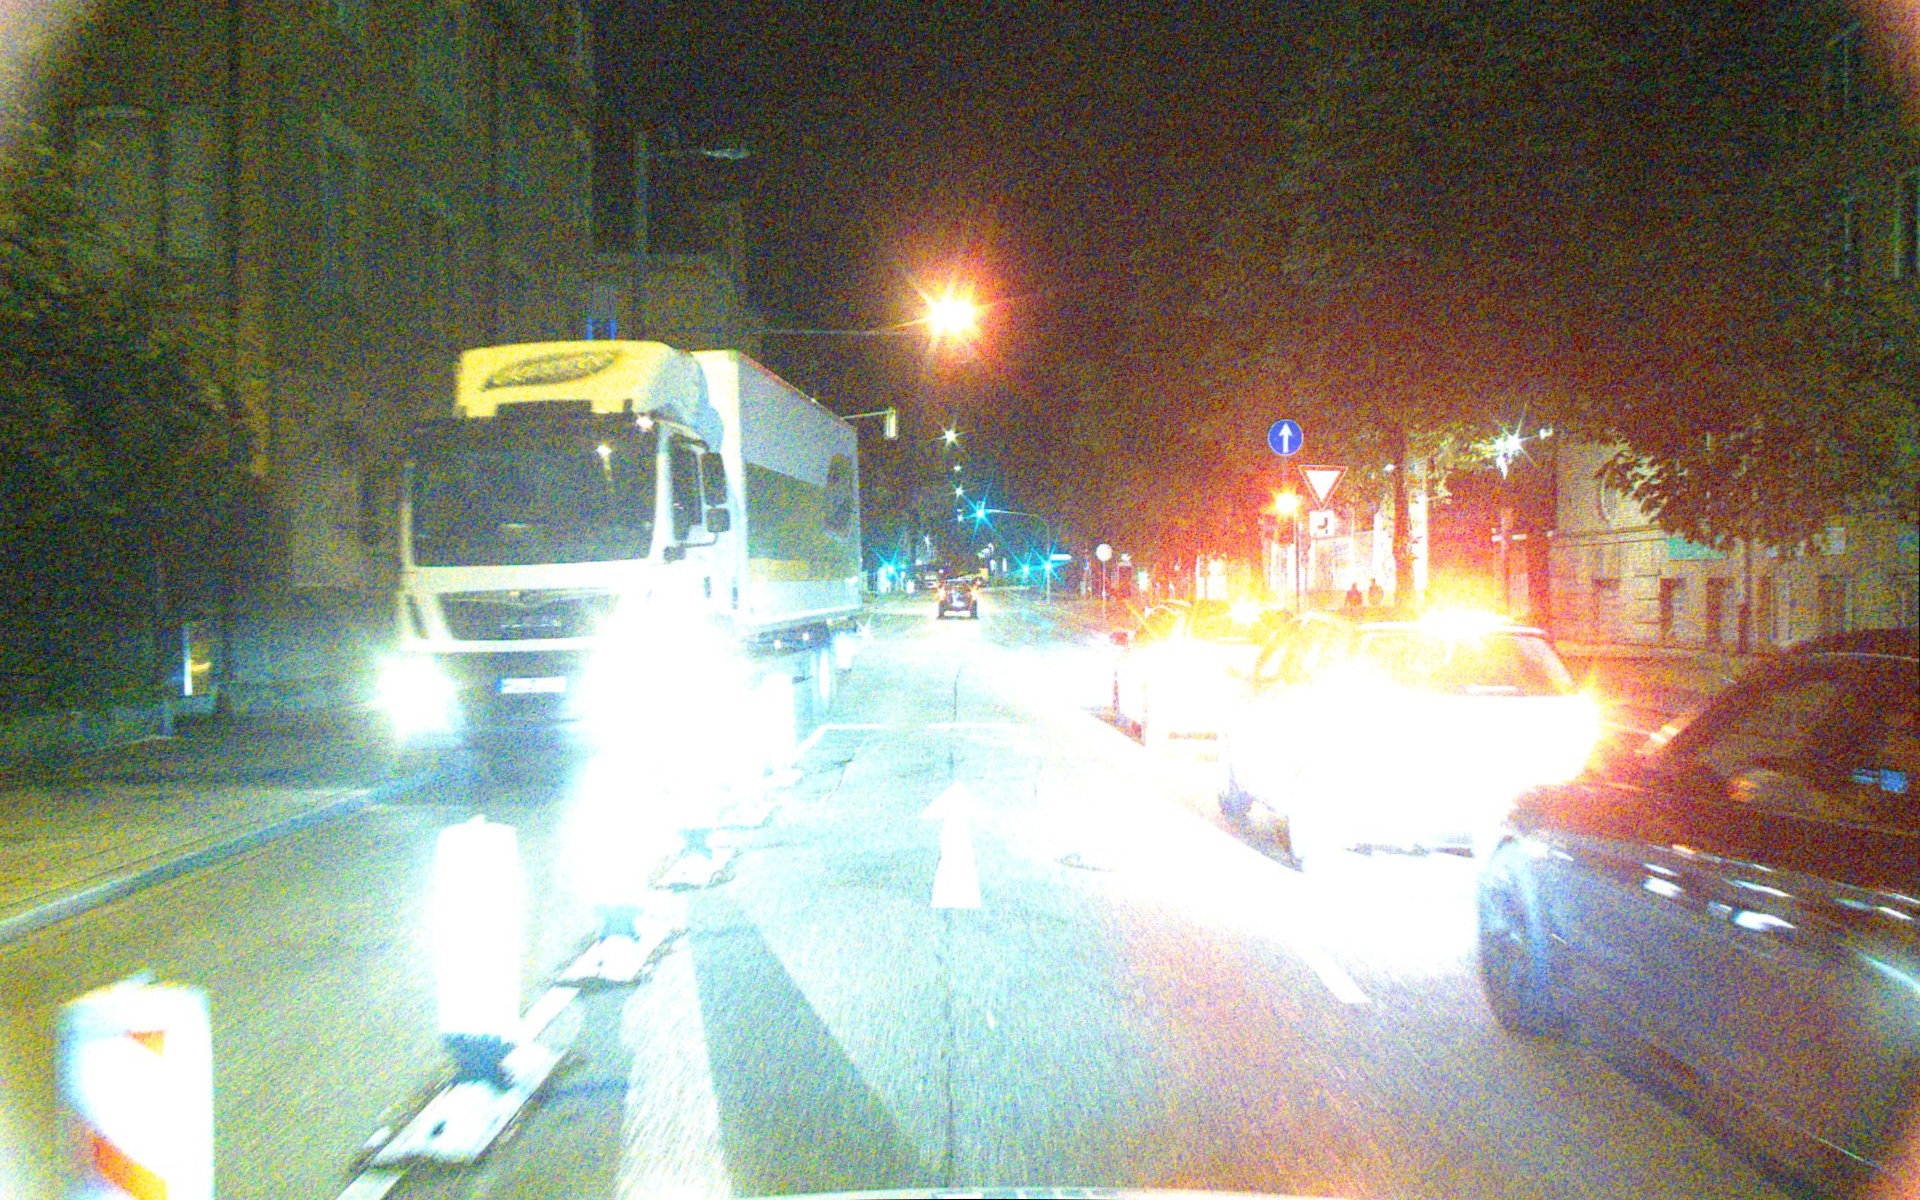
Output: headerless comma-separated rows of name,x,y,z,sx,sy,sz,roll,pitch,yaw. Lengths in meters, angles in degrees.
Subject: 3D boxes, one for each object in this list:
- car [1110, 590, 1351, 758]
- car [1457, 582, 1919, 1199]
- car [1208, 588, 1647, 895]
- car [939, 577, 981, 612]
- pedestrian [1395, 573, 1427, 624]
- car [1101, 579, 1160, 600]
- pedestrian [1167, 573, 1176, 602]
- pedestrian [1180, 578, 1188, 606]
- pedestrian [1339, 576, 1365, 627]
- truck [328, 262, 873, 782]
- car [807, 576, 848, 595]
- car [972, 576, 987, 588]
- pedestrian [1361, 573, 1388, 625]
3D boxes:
car,2.651,0.662,17.138,1.694,1.460,4.210,2,0,-1
car,2.828,0.749,4.122,1.768,1.520,4.730,2,0,1
car,2.700,0.712,10.483,1.604,1.520,4.000,2,0,0
car,-0.039,-0.279,81.460,1.953,1.668,3.999,0,0,-2
pedestrian,16.046,-0.048,58.890,0.882,1.800,0.907,-1,0,0
car,11.639,-0.716,113.037,3.904,1.410,1.772,-1,1,3
pedestrian,15.006,-0.857,117.549,0.520,2.049,0.670,0,0,-1
pedestrian,16.005,-0.581,118.317,0.478,2.049,0.551,0,0,-1
pedestrian,13.919,0.044,58.740,0.699,1.800,0.907,-1,0,0
truck,-2.951,-0.608,17.319,2.697,3.783,10.119,-1,0,4
car,-10.773,-1.197,134.447,1.786,1.512,3.957,-1,1,-31
car,2.755,-2.595,240.159,1.953,1.624,3.998,0,0,-2
pedestrian,14.752,-0.043,58.915,0.723,1.800,0.907,-1,0,0
